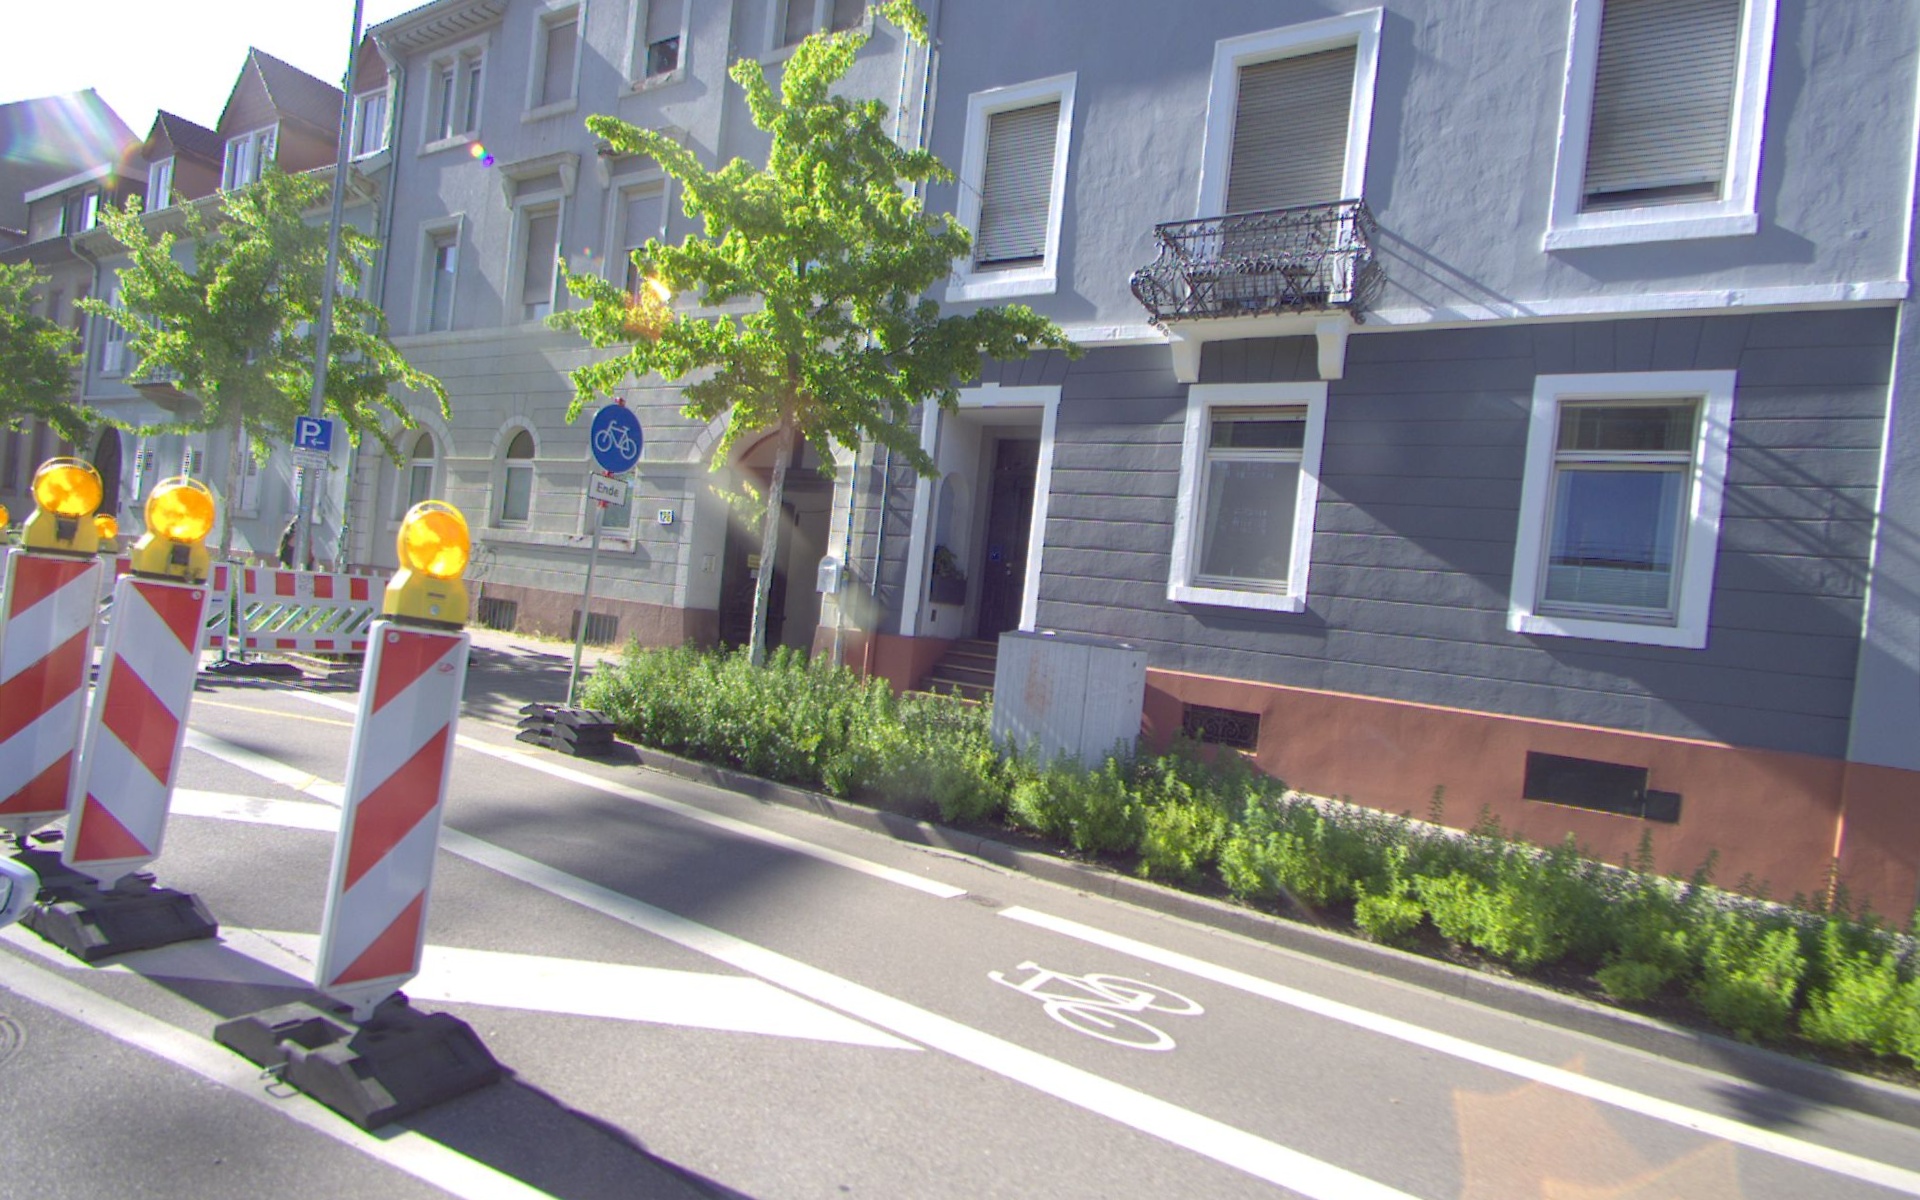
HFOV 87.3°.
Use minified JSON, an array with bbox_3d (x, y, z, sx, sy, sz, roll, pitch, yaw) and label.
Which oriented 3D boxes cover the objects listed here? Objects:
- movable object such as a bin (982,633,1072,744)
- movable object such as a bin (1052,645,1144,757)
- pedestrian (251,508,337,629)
[{"bbox_3d":[0.749,0.985,11.260,0.692,1.121,0.589,6,-1,32],"label":"movable object such as a bin"},{"bbox_3d":[1.508,1.090,10.971,0.692,1.095,0.604,6,-1,32],"label":"movable object such as a bin"},{"bbox_3d":[-11.481,-0.540,17.352,0.757,1.951,0.795,7,-1,29],"label":"pedestrian"}]
